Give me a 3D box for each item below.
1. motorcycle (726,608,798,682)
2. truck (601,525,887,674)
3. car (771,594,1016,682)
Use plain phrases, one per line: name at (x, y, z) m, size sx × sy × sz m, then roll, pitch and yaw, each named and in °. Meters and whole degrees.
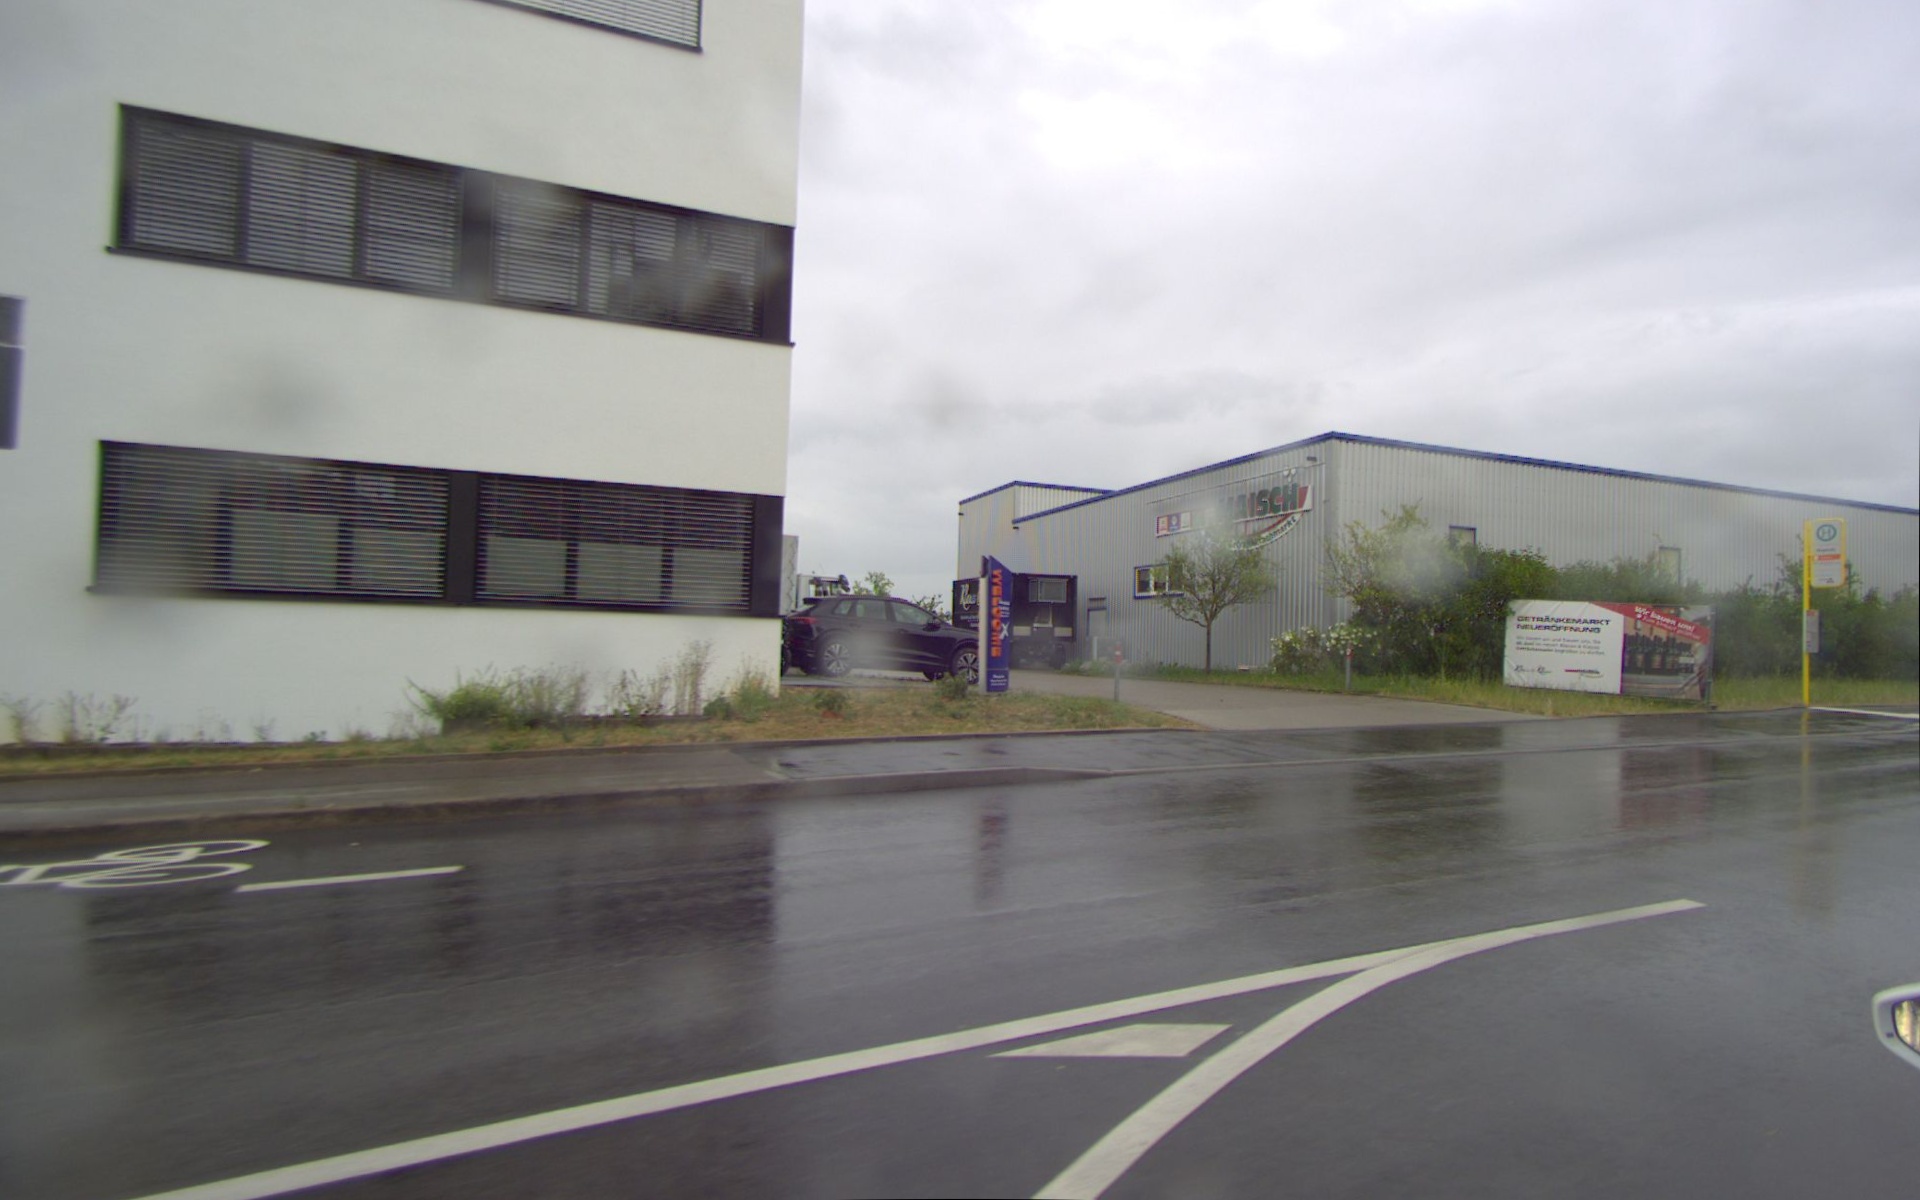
motorcycle at (-3.798, 0.796, 18.976) m, size 0.765 × 1.260 × 3.680 m, roll 2°, pitch -1°, yaw -19°
truck at (-5.866, 0.096, 27.270) m, size 7.226 × 3.624 × 2.666 m, roll 2°, pitch -1°, yaw -21°
car at (-1.324, 0.758, 20.177) m, size 4.542 × 1.617 × 1.847 m, roll 2°, pitch -1°, yaw -25°
